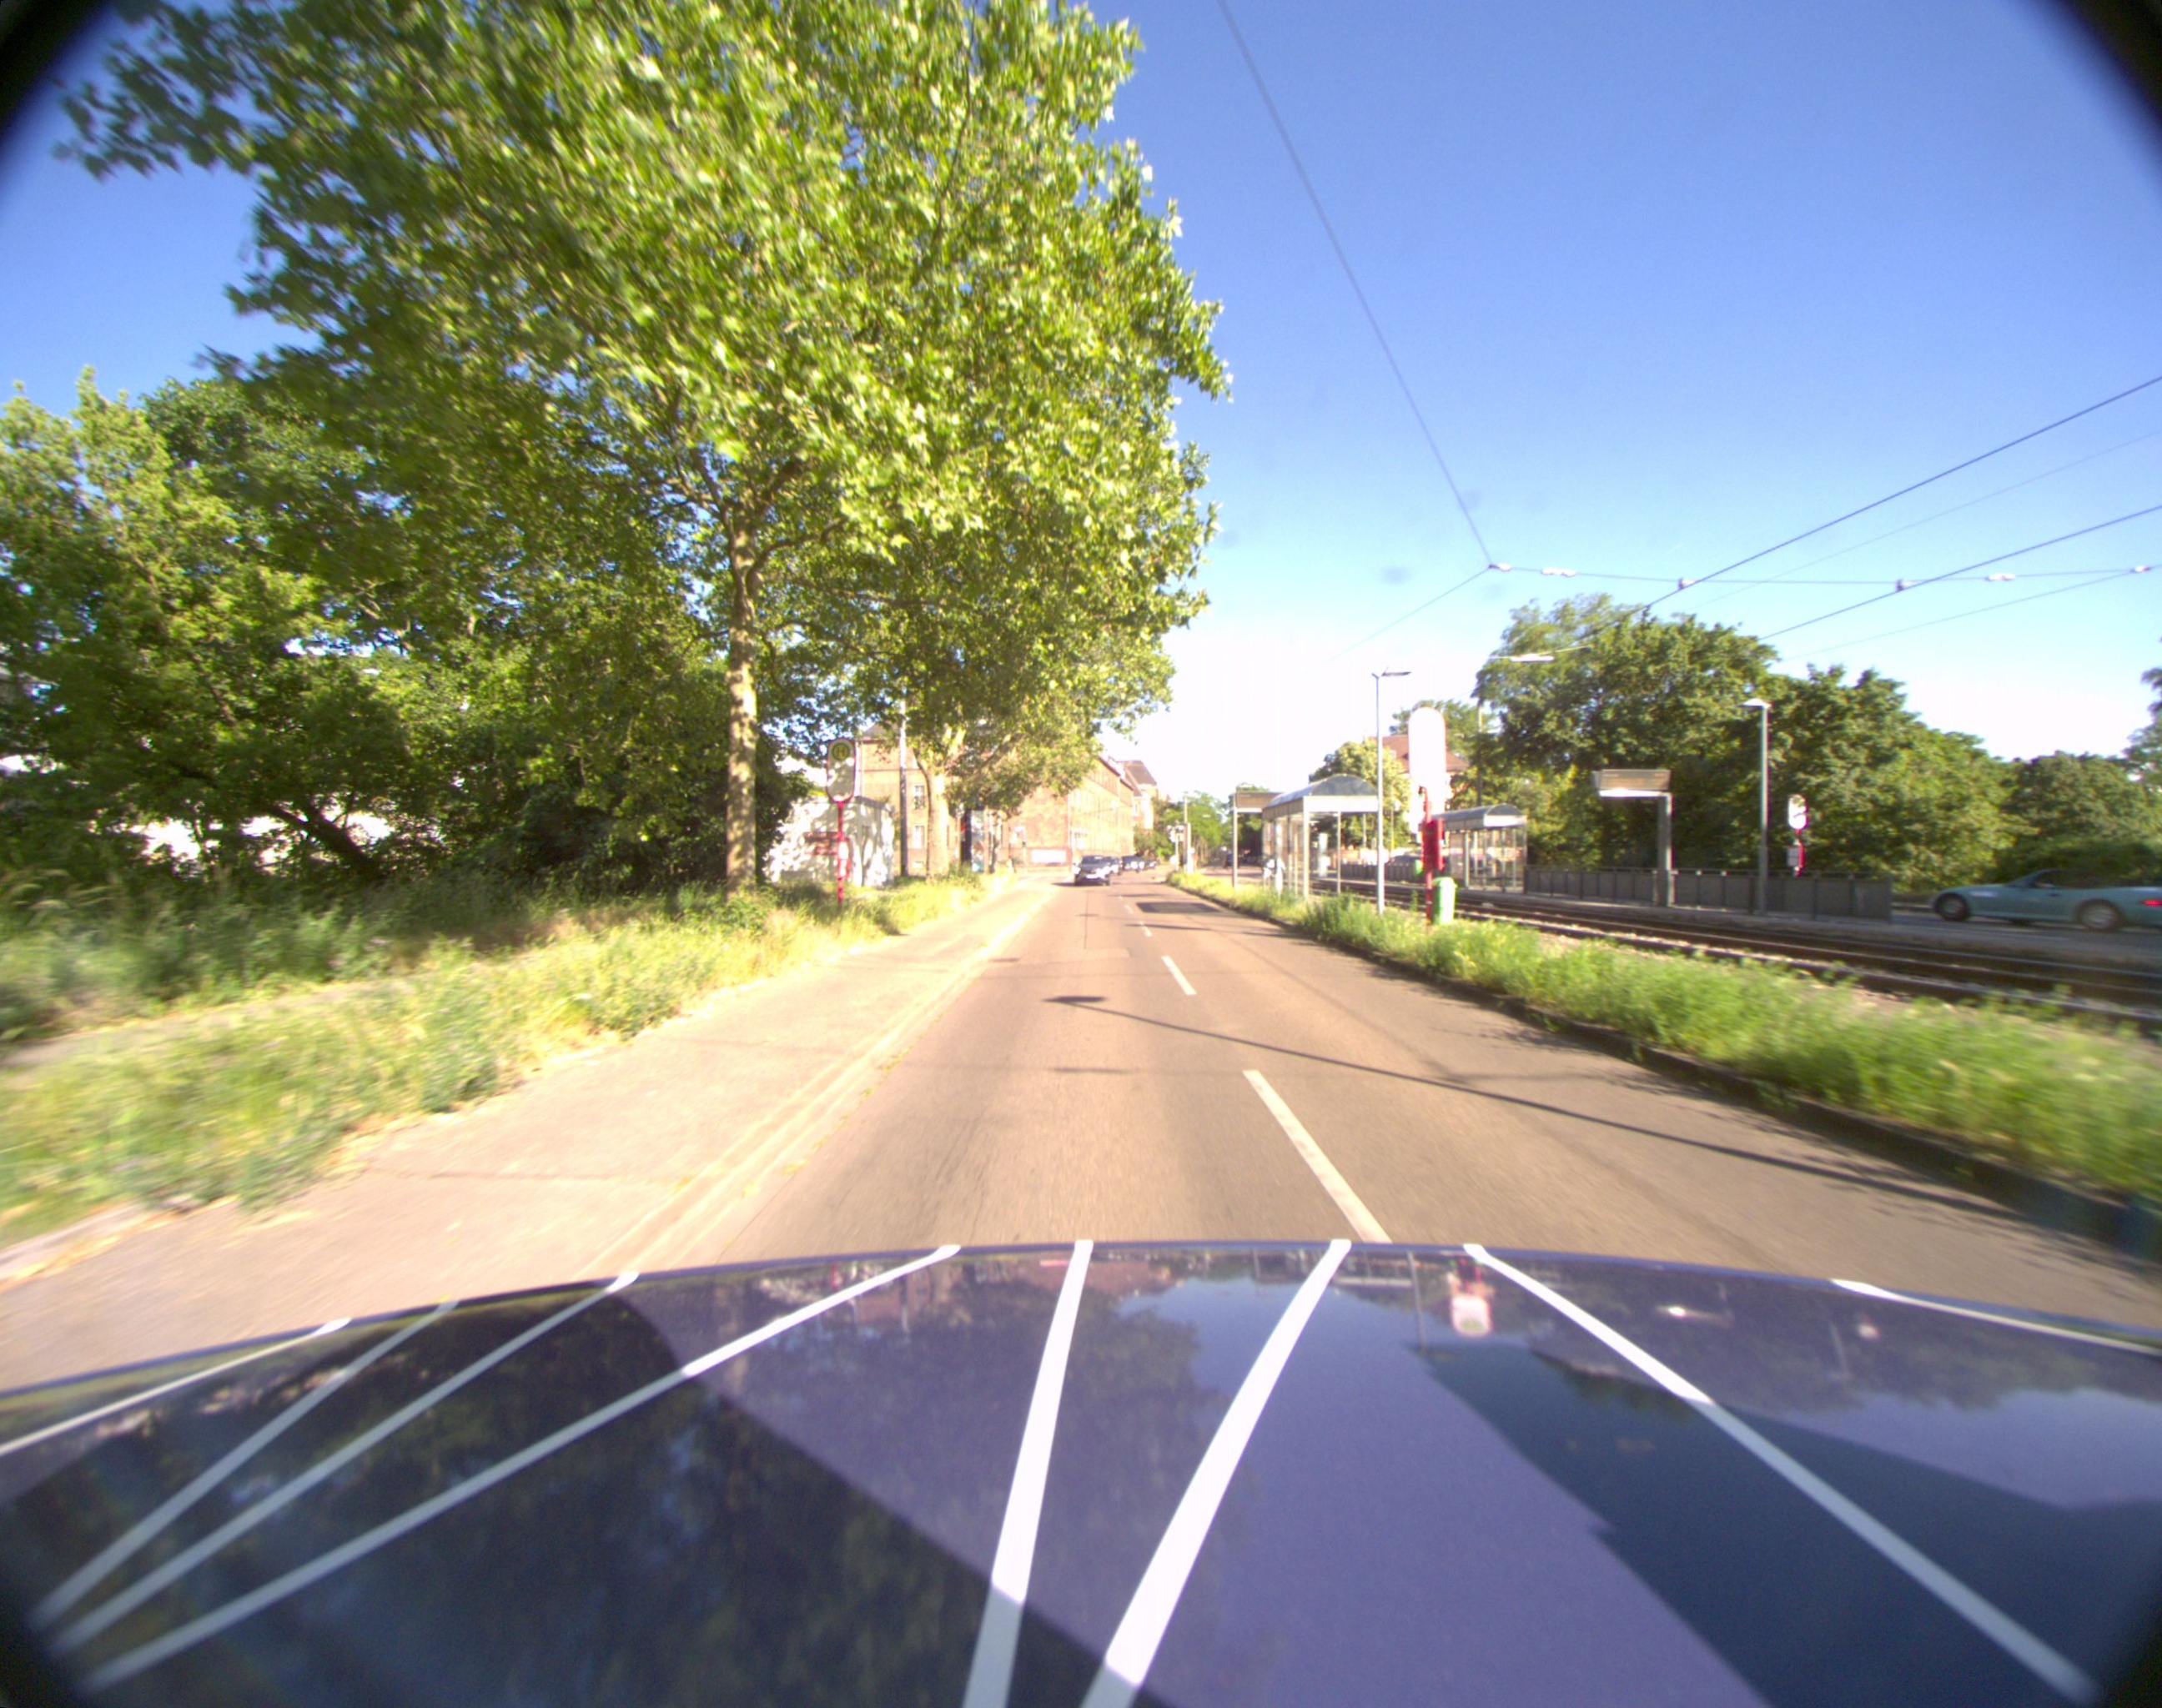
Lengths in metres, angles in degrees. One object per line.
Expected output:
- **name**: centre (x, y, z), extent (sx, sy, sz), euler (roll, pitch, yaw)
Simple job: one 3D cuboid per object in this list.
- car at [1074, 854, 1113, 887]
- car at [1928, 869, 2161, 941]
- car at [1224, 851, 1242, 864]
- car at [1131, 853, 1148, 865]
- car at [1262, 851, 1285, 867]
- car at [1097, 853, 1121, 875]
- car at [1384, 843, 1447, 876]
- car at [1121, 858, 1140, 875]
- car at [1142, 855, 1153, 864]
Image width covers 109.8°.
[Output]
- **car**: centre (0.593, 0.776, 37.734), extent (1.808, 1.478, 3.546), euler (-2, 1, 0)
- **car**: centre (19.972, 0.955, 15.425), extent (1.493, 1.112, 3.676), euler (-2, 1, 1)
- **car**: centre (18.686, 0.403, 93.549), extent (1.853, 1.478, 3.548), euler (-2, 1, 6)
- **car**: centre (6.986, 0.621, 90.665), extent (1.649, 1.319, 3.485), euler (-2, 1, 11)
- **car**: centre (18.480, 0.460, 72.977), extent (1.852, 1.371, 3.442), euler (-2, 1, 11)
- **car**: centre (2.053, 0.690, 56.037), extent (1.714, 1.478, 3.547), euler (-2, 1, 2)
- **car**: centre (16.980, 0.249, 38.748), extent (1.613, 1.548, 3.673), euler (-2, 1, 1)
- **car**: centre (4.533, 1.128, 69.604), extent (1.590, 1.478, 3.547), euler (-2, 1, 2)
- **car**: centre (9.036, 0.736, 102.662), extent (1.405, 1.205, 3.240), euler (-2, 1, 5)
